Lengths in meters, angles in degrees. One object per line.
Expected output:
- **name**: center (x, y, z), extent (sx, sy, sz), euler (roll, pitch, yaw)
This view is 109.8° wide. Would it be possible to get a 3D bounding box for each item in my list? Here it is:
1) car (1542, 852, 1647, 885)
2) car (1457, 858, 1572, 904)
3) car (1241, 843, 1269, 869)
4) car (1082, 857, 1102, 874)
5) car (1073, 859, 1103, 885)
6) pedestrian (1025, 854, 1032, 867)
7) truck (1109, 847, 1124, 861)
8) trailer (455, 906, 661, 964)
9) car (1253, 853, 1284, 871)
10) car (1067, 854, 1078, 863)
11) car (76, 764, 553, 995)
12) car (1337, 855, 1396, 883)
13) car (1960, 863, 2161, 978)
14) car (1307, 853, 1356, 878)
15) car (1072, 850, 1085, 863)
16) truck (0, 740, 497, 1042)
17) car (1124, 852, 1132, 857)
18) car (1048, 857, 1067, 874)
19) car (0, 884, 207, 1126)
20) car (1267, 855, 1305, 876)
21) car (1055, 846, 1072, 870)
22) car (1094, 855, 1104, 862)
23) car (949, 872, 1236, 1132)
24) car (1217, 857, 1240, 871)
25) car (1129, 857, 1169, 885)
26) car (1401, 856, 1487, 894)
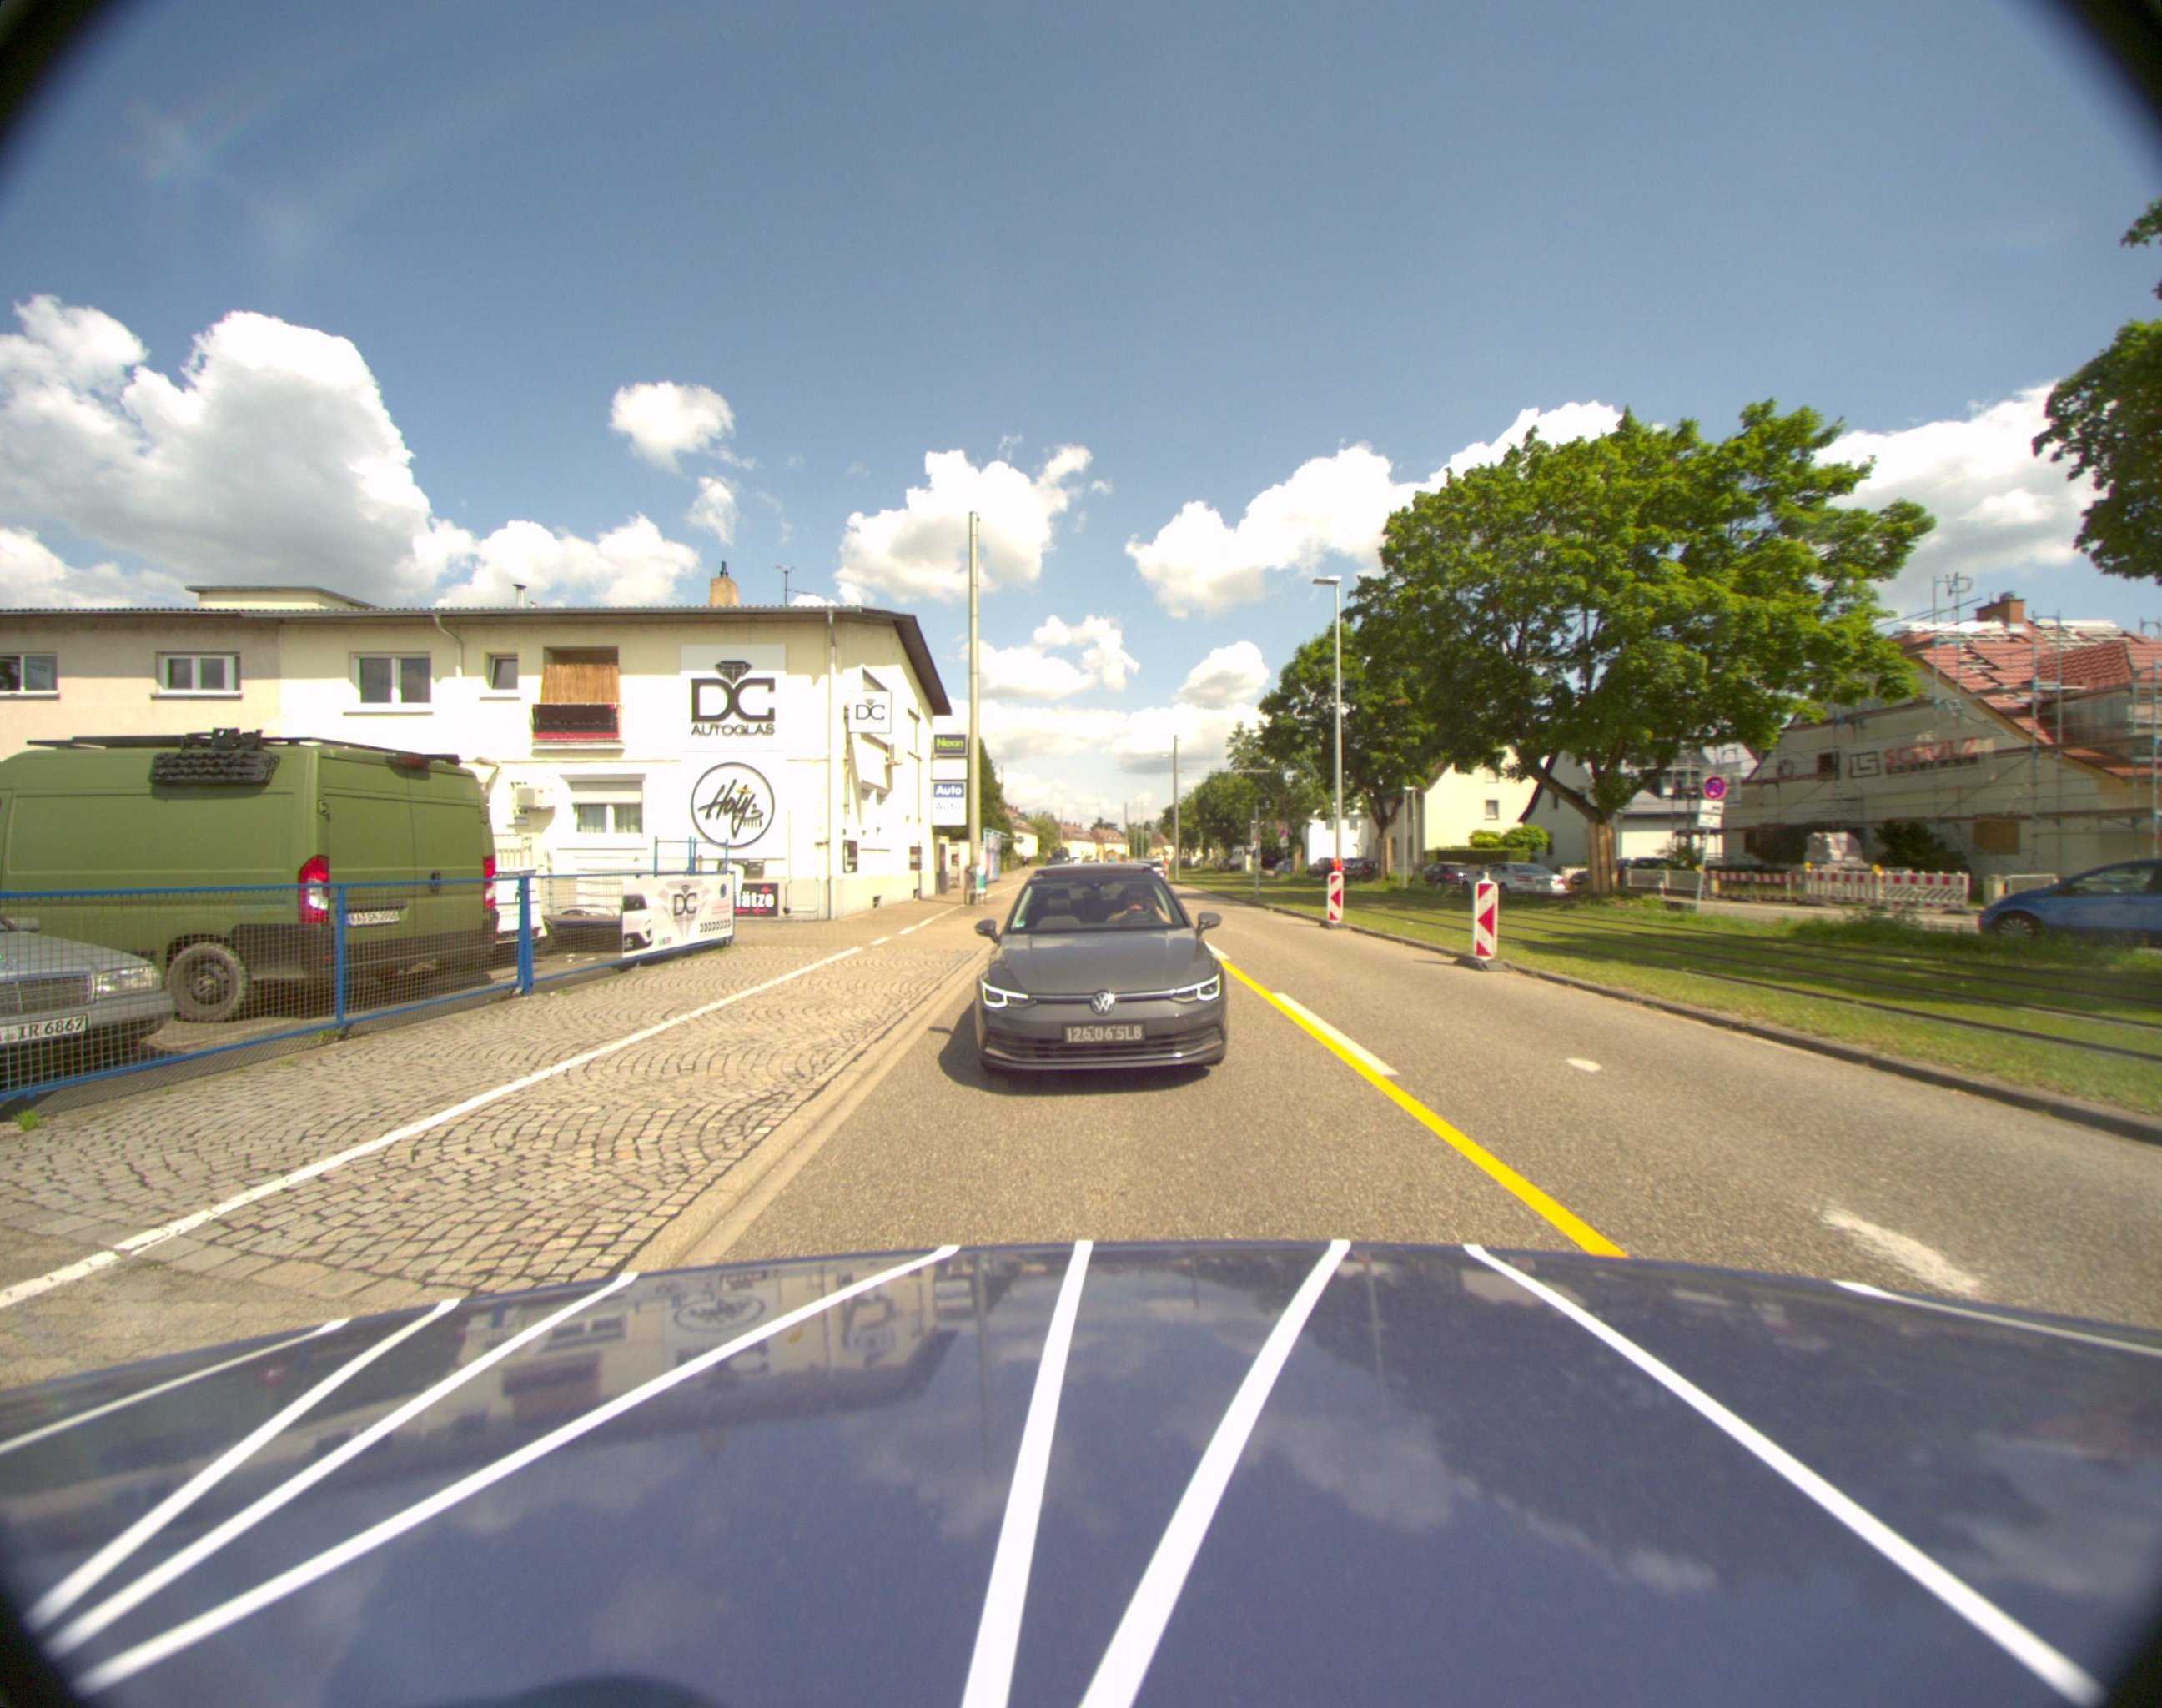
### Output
- **car**: center (25.511, 0.719, 37.831), extent (4.047, 1.602, 1.757), euler (0, 0, 1)
- **car**: center (16.387, 0.963, 29.005), extent (1.755, 1.602, 4.606), euler (0, 0, 0)
- **car**: center (17.646, 0.195, 77.114), extent (1.755, 2.601, 4.606), euler (0, 0, 0)
- **car**: center (0.981, 0.983, 68.093), extent (1.787, 1.470, 4.009), euler (0, 0, 1)
- **car**: center (0.429, 1.026, 44.991), extent (1.719, 1.470, 4.009), euler (0, 0, 1)
- **pedestrian**: center (-6.373, 0.770, 92.074), extent (0.816, 1.577, 0.918), euler (0, 0, 1)
- **truck**: center (9.411, 0.019, 201.134), extent (2.590, 3.431, 8.585), euler (0, 0, 11)
- **trailer**: center (-8.064, 1.235, 11.836), extent (2.329, 0.762, 1.269), euler (0, 0, 2)
- **car**: center (17.585, 0.753, 71.494), extent (1.755, 1.602, 4.606), euler (0, 0, 0)
- **car**: center (-1.363, 0.735, 123.034), extent (1.720, 1.470, 4.009), euler (0, 0, 0)
- **car**: center (-9.456, 0.299, 9.651), extent (4.209, 2.653, 1.803), euler (0, 0, 0)
- **car**: center (16.900, 0.848, 45.266), extent (1.755, 1.602, 4.606), euler (0, 0, 0)
- **car**: center (16.221, 0.956, 11.231), extent (1.755, 1.602, 4.050), euler (0, 0, 0)
- **car**: center (16.678, 0.762, 50.906), extent (1.755, 1.602, 4.606), euler (0, 0, 0)
- **car**: center (-0.426, 0.396, 136.322), extent (1.719, 2.360, 5.211), euler (0, 0, 5)
- **truck**: center (-8.625, 0.326, 7.566), extent (3.997, 2.592, 2.069), euler (0, 0, 1)
- **car**: center (13.537, 0.232, 218.476), extent (1.718, 1.470, 4.013), euler (0, 0, 13)
- **car**: center (-2.160, 1.063, 70.986), extent (1.720, 1.470, 4.009), euler (0, 0, 0)
- **car**: center (-8.439, 0.915, 4.809), extent (4.206, 1.388, 1.804), euler (0, 0, 8)
- **car**: center (16.495, 0.914, 61.355), extent (1.755, 1.602, 4.606), euler (0, 0, 0)
- **car**: center (-1.917, 0.408, 82.848), extent (1.720, 2.526, 5.794), euler (0, 0, 0)
- **car**: center (4.109, 0.992, 172.735), extent (1.718, 1.470, 4.011), euler (0, 0, 8)
- **car**: center (0.098, 0.935, 6.566), extent (1.719, 1.470, 4.009), euler (0, 0, 1)
- **car**: center (16.933, 1.150, 87.269), extent (1.755, 1.602, 4.606), euler (0, 0, 0)
- **car**: center (3.674, 0.899, 41.549), extent (1.755, 1.405, 4.261), euler (0, 0, 0)
- **car**: center (16.589, 0.914, 35.028), extent (1.755, 1.602, 4.606), euler (0, 0, 0)
